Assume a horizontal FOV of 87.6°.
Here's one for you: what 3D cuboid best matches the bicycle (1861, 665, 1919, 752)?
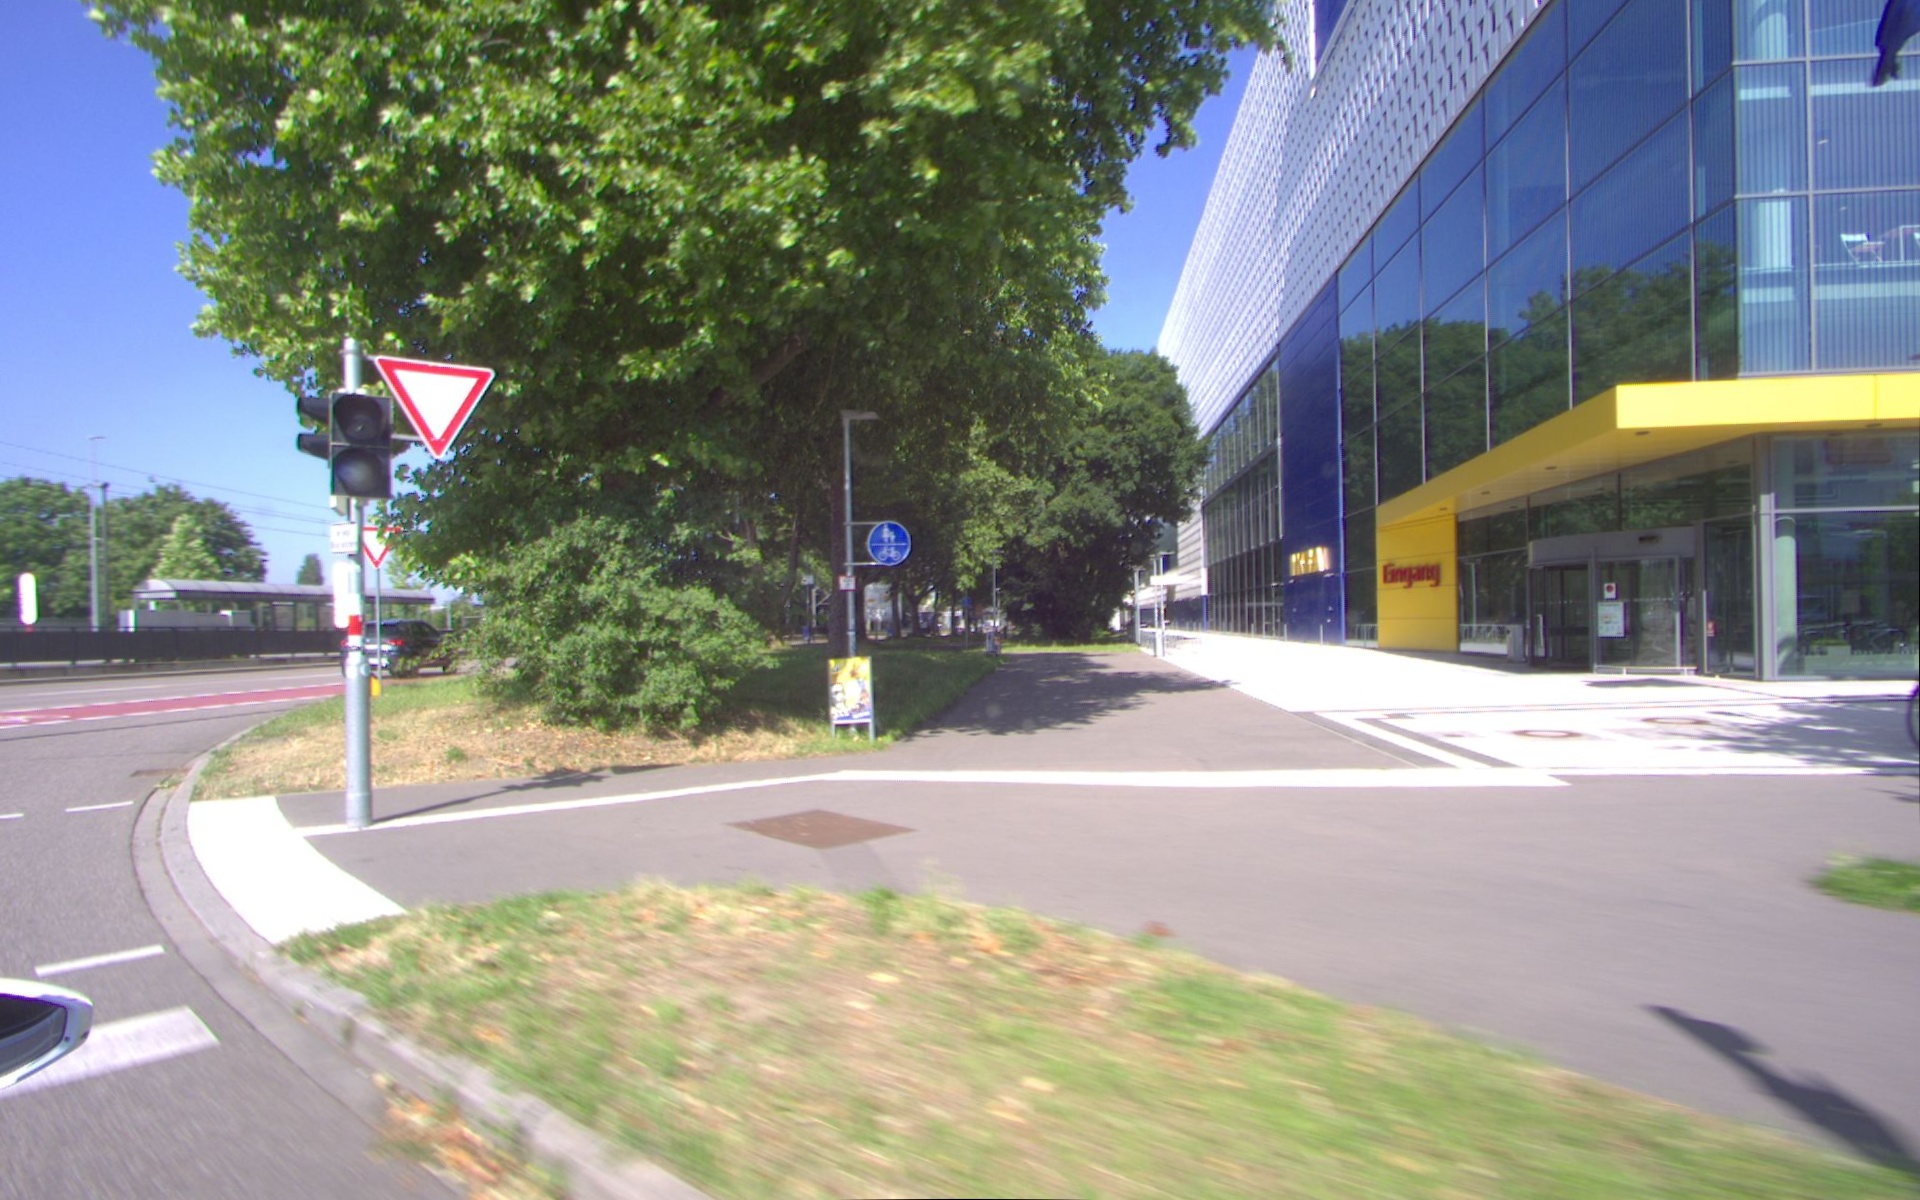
[{"bbox_3d":[9.990,1.120,10.101,0.425,0.854,1.834,0,-1,9],"label":"bicycle"}]

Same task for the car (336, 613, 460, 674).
[{"bbox_3d":[-15.085,1.171,27.081,1.643,1.542,3.378,0,-2,-5],"label":"car"}]
